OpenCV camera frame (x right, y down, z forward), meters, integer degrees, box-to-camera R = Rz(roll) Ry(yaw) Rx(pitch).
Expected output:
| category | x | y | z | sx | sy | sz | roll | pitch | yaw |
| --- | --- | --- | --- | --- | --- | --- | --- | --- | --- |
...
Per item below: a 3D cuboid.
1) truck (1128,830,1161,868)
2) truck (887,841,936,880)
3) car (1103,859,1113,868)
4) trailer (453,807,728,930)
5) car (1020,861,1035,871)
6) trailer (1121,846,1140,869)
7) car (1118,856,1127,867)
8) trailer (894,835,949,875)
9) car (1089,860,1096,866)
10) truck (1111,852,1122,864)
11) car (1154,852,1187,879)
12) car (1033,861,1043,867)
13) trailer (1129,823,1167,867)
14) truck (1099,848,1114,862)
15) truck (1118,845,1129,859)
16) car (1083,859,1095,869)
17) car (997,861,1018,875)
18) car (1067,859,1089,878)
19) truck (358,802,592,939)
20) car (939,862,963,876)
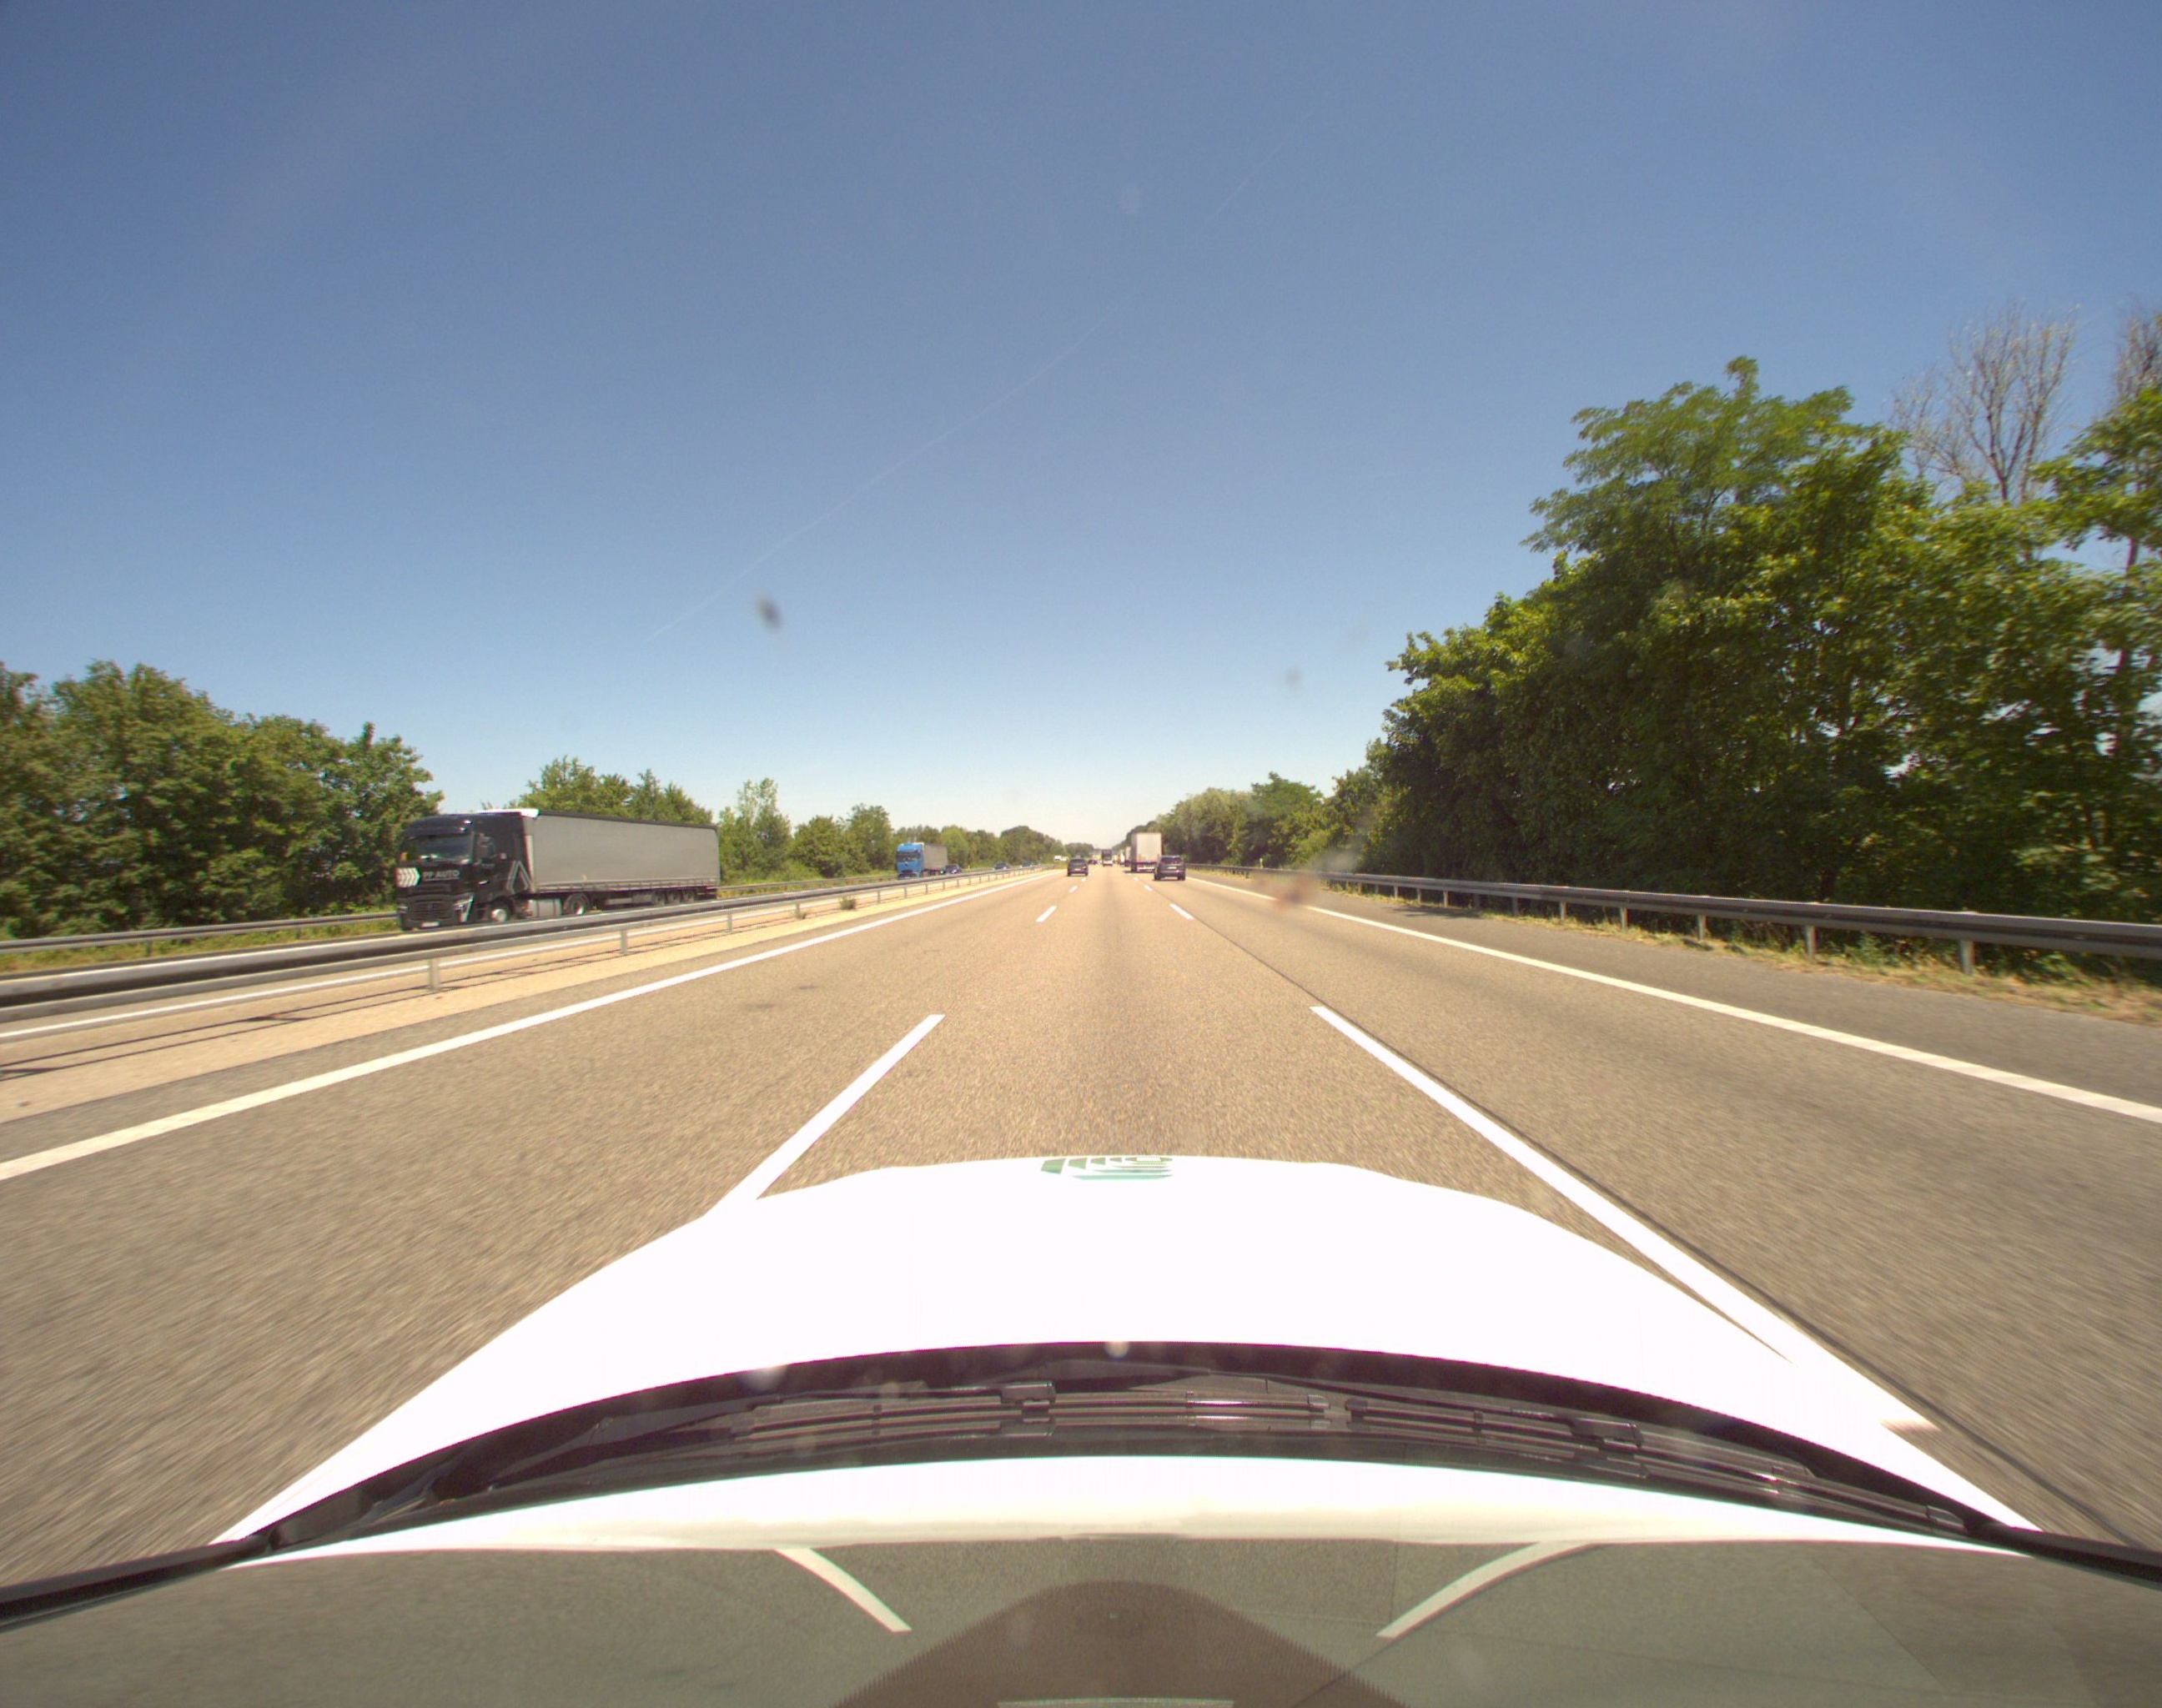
| category | x | y | z | sx | sy | sz | roll | pitch | yaw |
| --- | --- | --- | --- | --- | --- | --- | --- | --- | --- |
| truck | 7.234 | -0.487 | 93.412 | 3.451 | 4.177 | 6.846 | 0 | -1 | 2 |
| truck | -18.438 | 0.697 | 89.264 | 3.240 | 3.986 | 8.731 | -1 | 0 | 2 |
| car | 5.116 | 1.737 | 153.889 | 1.893 | 1.531 | 4.086 | 0 | 0 | 2 |
| trailer | -20.218 | 0.460 | 35.440 | 3.337 | 4.186 | 13.545 | -3 | 0 | 1 |
| car | -8.419 | 1.834 | 129.351 | 1.843 | 1.395 | 4.743 | -4 | -1 | 1 |
| trailer | 8.813 | 0.570 | 145.959 | 3.111 | 3.926 | 9.938 | 0 | 0 | 1 |
| car | 9.474 | 1.683 | 187.164 | 1.900 | 2.425 | 4.287 | 0 | 0 | 2 |
| trailer | -18.402 | 0.107 | 94.892 | 3.285 | 4.186 | 13.545 | -3 | 0 | 1 |
| car | 3.108 | 2.402 | 222.258 | 1.900 | 1.531 | 4.287 | 0 | 0 | 2 |
| truck | 11.357 | 1.378 | 258.574 | 3.475 | 3.725 | 7.114 | 0 | 0 | 3 |
| car | 5.811 | 0.733 | 53.346 | 1.838 | 1.629 | 4.137 | -2 | 0 | 2 |
| car | -10.784 | 2.507 | 204.541 | 1.856 | 1.401 | 4.532 | -3 | 0 | 1 |
| trailer | 6.927 | -0.820 | 85.928 | 3.421 | 4.181 | 13.639 | 0 | -1 | 2 |
| truck | 6.752 | 0.217 | 213.730 | 3.652 | 3.725 | 7.114 | 0 | 0 | 3 |
| truck | 11.069 | -0.552 | 212.067 | 2.781 | 3.725 | 7.114 | 0 | 0 | 3 |
| car | 1.345 | 1.647 | 135.043 | 1.893 | 1.531 | 4.086 | 0 | 0 | 2 |
| car | -8.857 | 1.661 | 98.117 | 1.843 | 1.463 | 5.170 | -4 | -1 | 1 |
| car | -0.232 | 1.219 | 71.248 | 1.752 | 1.531 | 4.287 | 0 | 0 | 2 |
| truck | -20.422 | 0.479 | 28.032 | 3.186 | 4.129 | 6.196 | -1 | 0 | 2 |
| car | -14.146 | 1.621 | 88.749 | 1.843 | 1.463 | 4.315 | 2 | 0 | 1 |
